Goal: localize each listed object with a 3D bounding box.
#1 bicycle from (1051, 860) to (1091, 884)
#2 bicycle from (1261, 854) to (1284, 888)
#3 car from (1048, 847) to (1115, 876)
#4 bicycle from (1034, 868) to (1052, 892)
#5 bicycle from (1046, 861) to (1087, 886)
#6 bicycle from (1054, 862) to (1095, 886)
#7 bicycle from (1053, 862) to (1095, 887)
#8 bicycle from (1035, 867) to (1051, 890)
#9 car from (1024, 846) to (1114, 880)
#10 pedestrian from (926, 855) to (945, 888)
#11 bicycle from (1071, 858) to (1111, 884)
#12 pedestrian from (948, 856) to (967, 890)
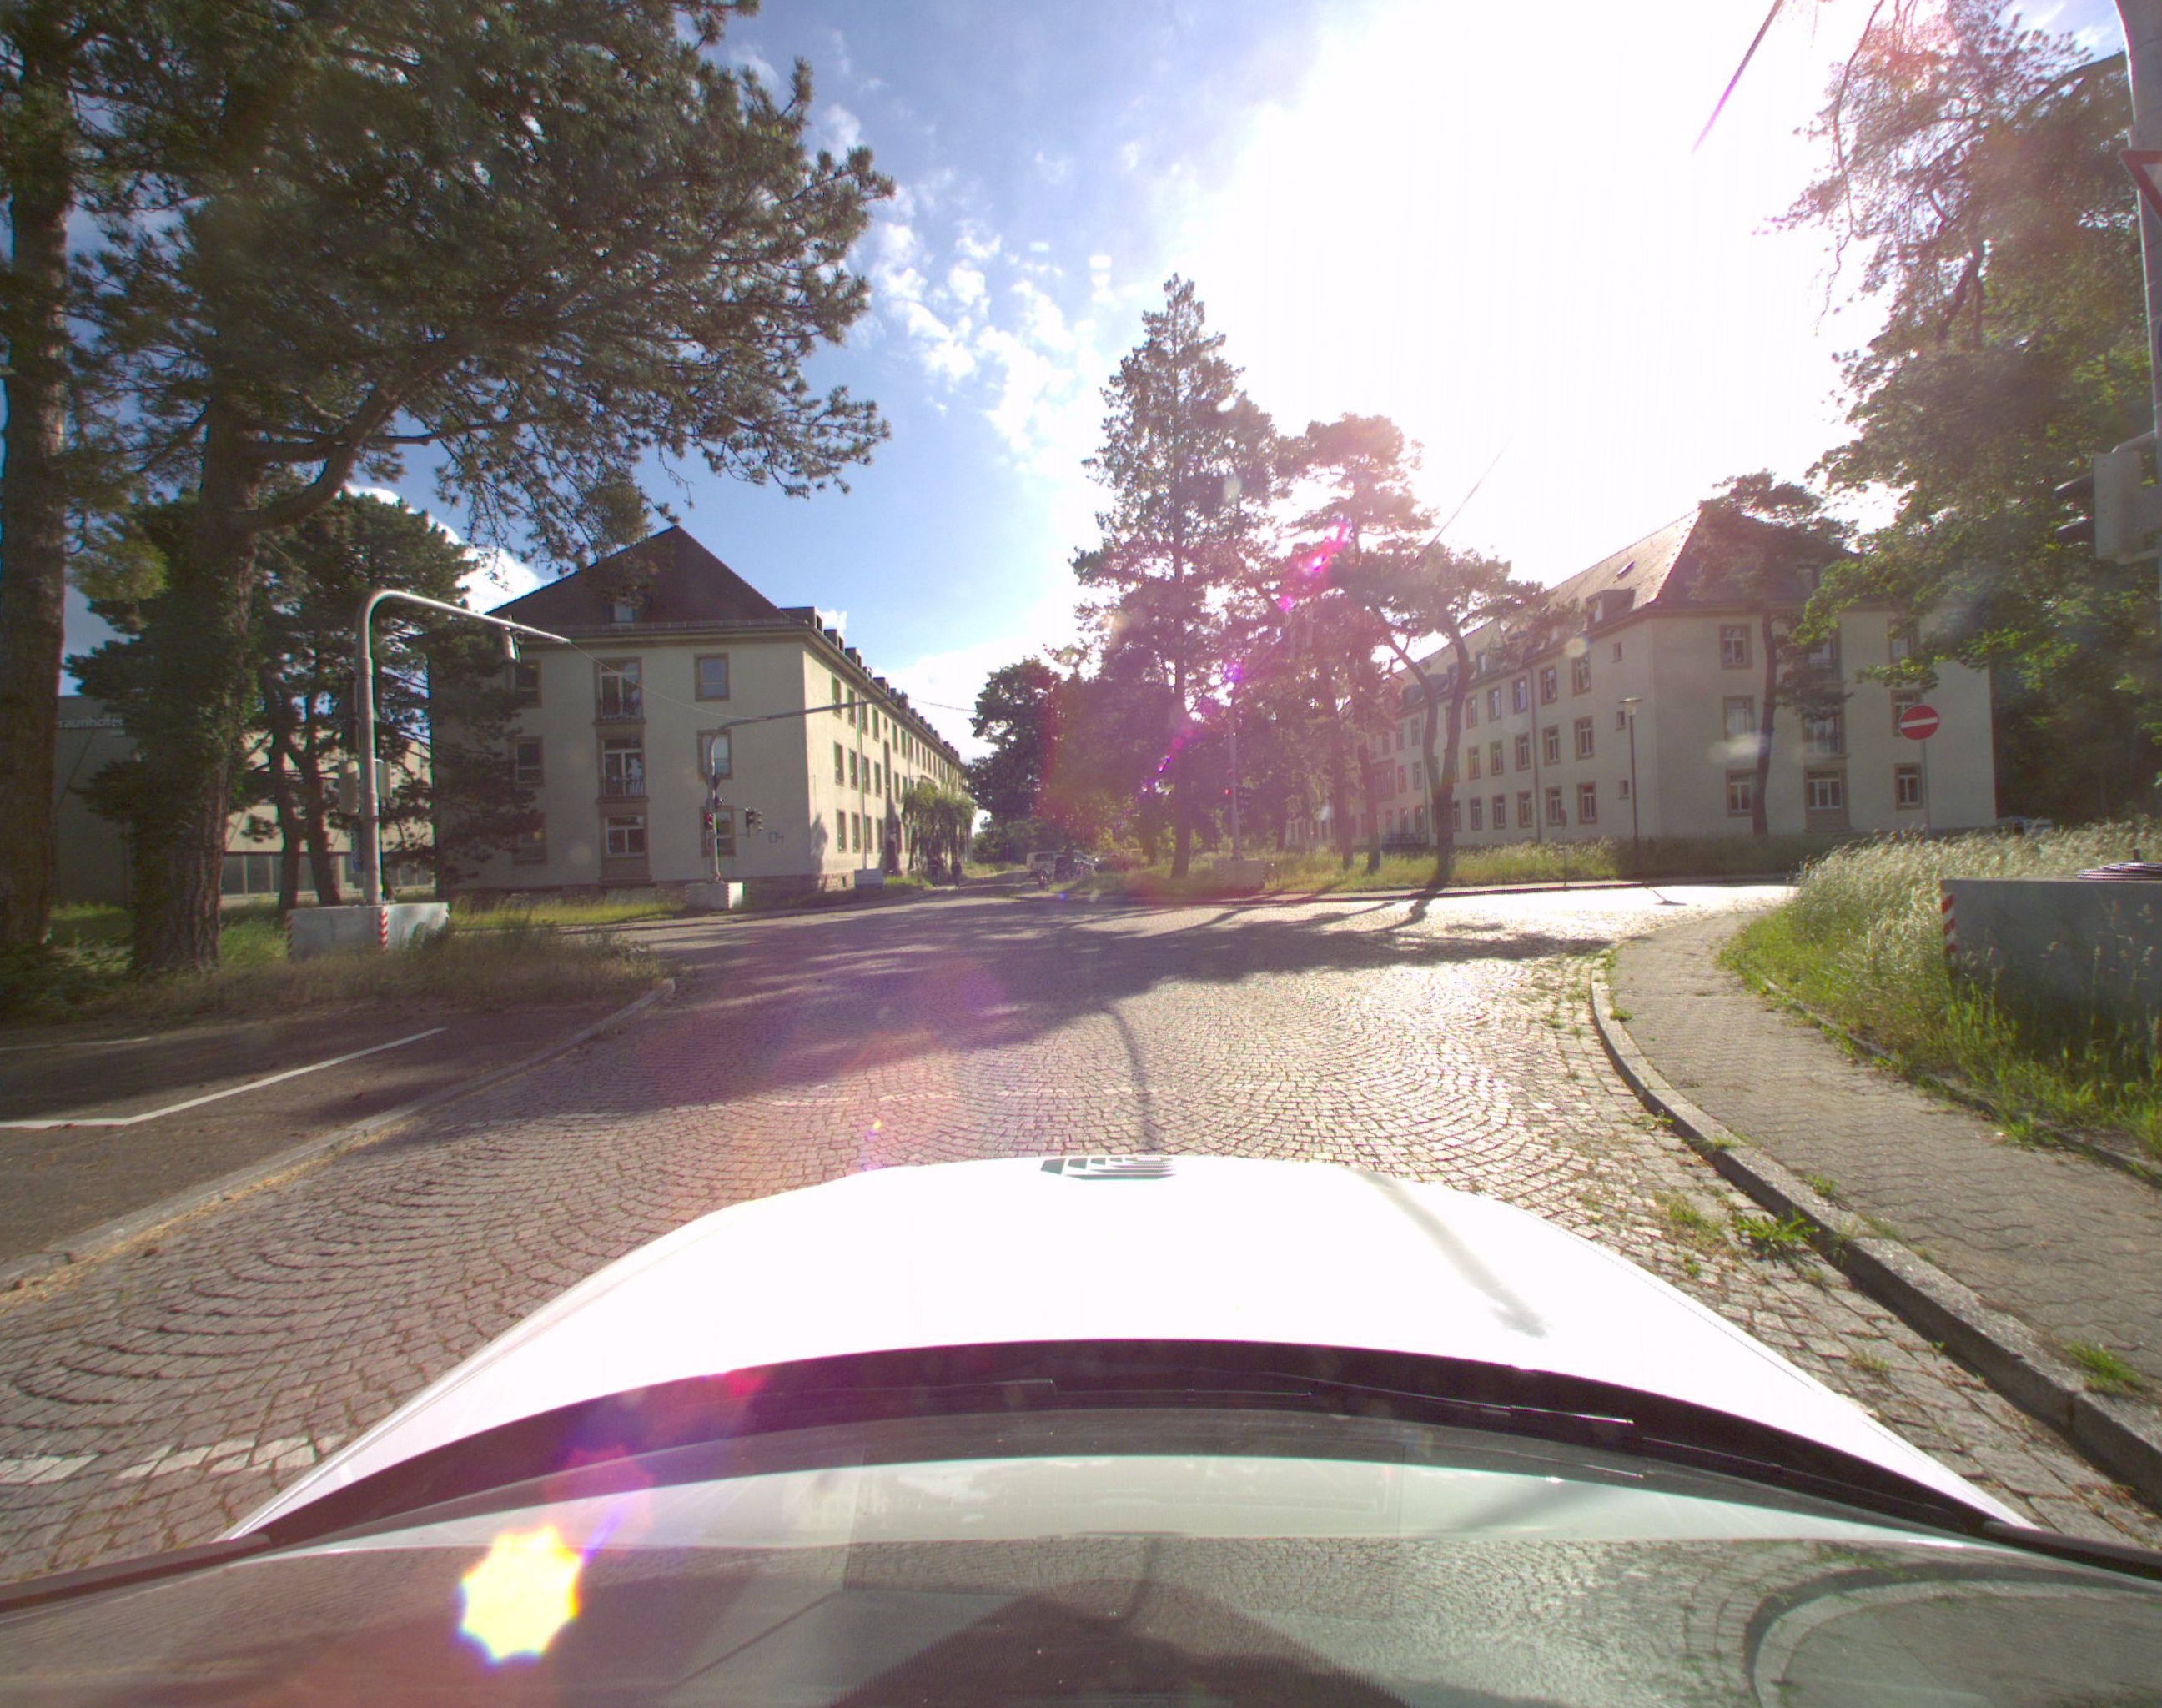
[{"bbox_3d":[-0.512,0.901,41.728,1.939,1.129,0.646,-2,0,-7],"label":"bicycle"},{"bbox_3d":[6.281,0.550,26.724,0.464,1.080,1.174,-2,-1,2],"label":"bicycle"},{"bbox_3d":[0.015,0.469,52.380,3.987,1.684,1.841,-2,0,-10],"label":"car"},{"bbox_3d":[-1.644,1.101,35.104,0.694,0.971,1.858,-2,0,-3],"label":"bicycle"},{"bbox_3d":[-0.709,0.951,40.625,1.952,1.129,0.642,-2,0,-29],"label":"bicycle"},{"bbox_3d":[-0.328,0.934,38.627,1.851,1.031,0.749,-2,0,-5],"label":"bicycle"},{"bbox_3d":[-0.351,0.980,39.422,1.937,1.129,0.749,-2,0,-5],"label":"bicycle"},{"bbox_3d":[-1.749,1.113,37.028,0.694,0.971,1.858,-2,0,-3],"label":"bicycle"},{"bbox_3d":[-0.863,0.614,56.752,5.928,2.013,2.468,-2,0,-9],"label":"car"},{"bbox_3d":[-7.996,0.956,44.750,0.807,1.817,0.556,-2,0,9],"label":"pedestrian"},{"bbox_3d":[0.489,0.834,40.152,1.937,1.235,0.484,-2,0,-5],"label":"bicycle"},{"bbox_3d":[-6.822,1.035,45.038,0.762,1.817,0.684,-2,0,9],"label":"pedestrian"}]
